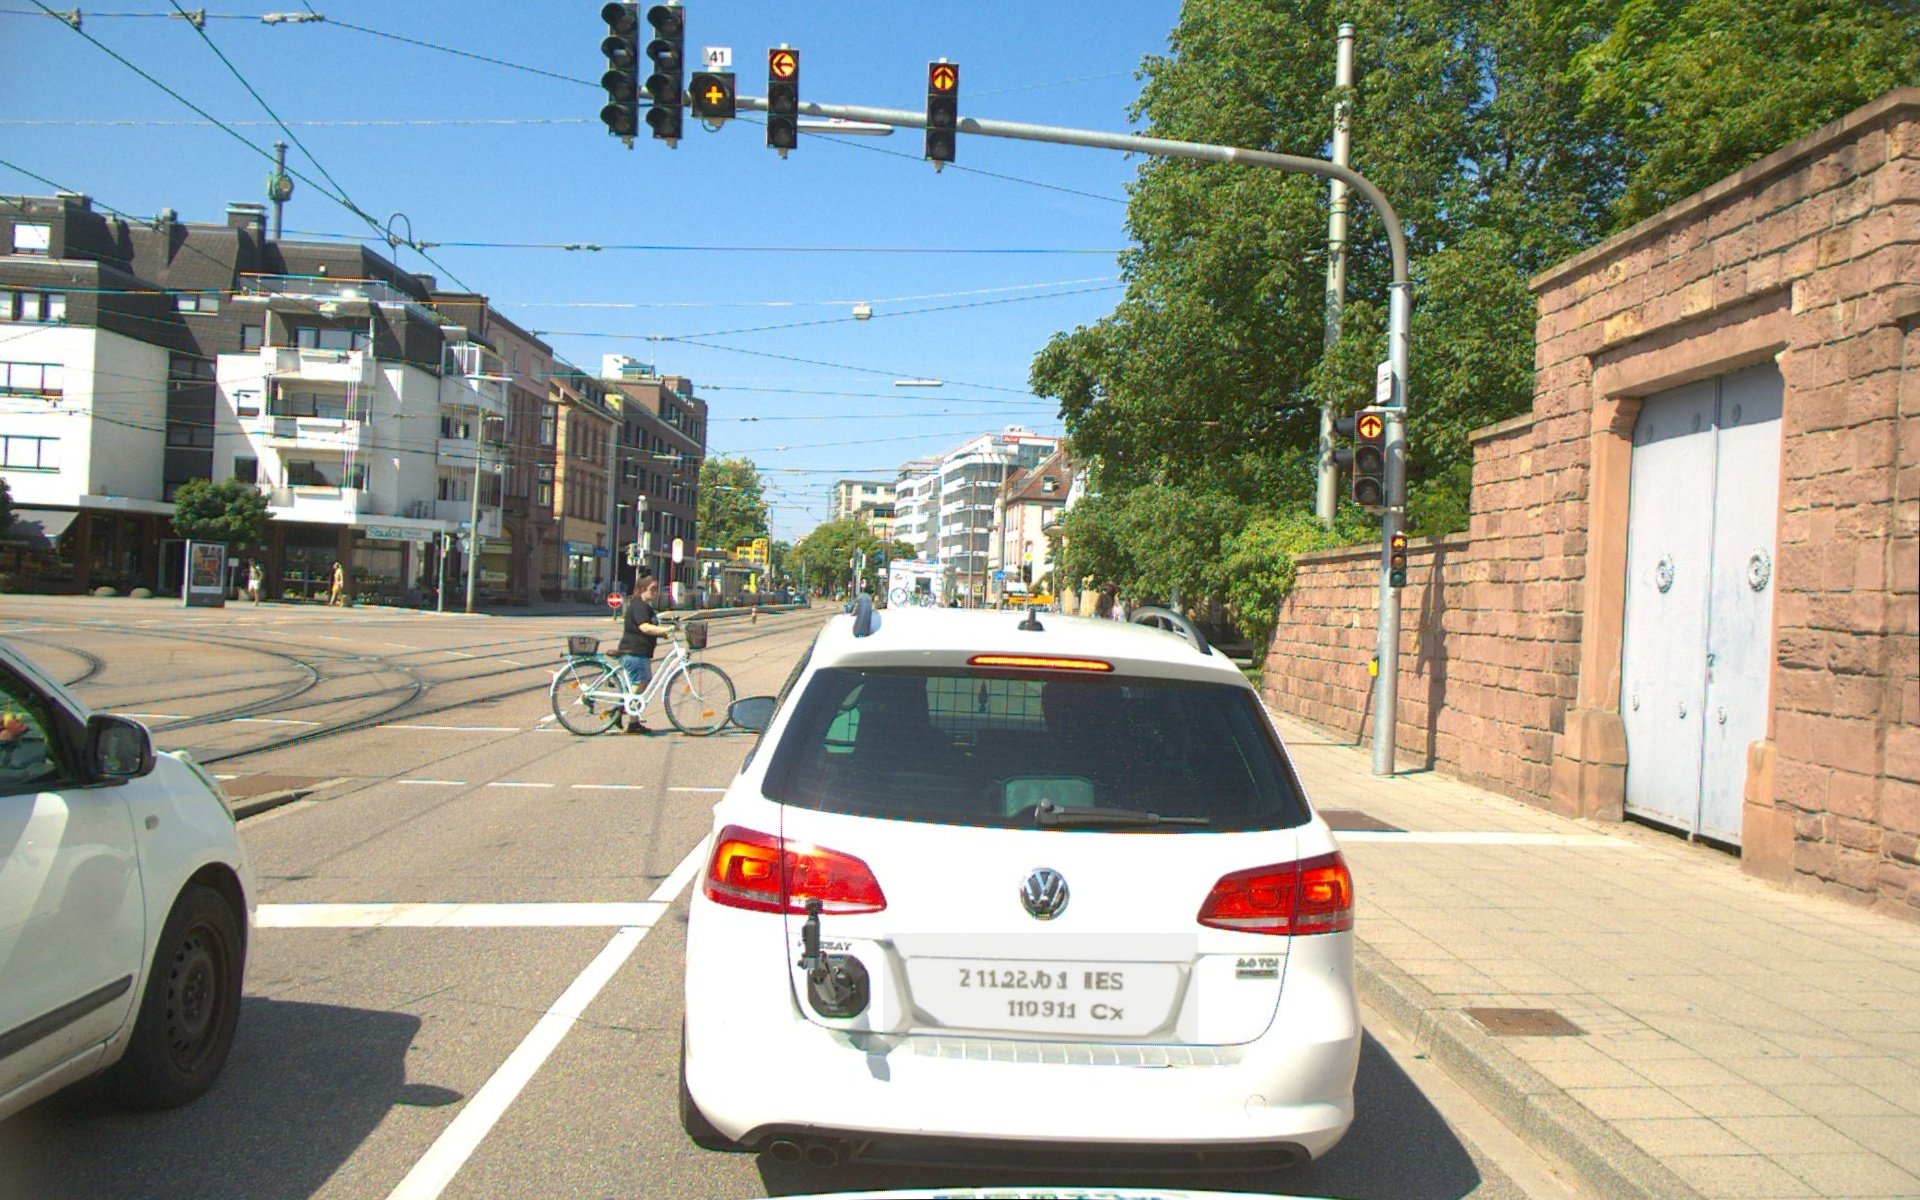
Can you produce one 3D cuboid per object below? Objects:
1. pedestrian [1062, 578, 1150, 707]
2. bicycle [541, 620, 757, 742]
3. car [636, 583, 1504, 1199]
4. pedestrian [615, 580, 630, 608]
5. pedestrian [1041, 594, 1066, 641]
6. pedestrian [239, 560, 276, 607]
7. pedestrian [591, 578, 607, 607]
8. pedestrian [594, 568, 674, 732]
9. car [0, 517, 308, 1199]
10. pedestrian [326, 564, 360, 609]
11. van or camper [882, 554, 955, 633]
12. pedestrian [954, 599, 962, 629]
[{"bbox_3d":[1.956,0.559,22.067,0.933,1.680,0.975,0,-1,20],"label":"pedestrian"},{"bbox_3d":[-3.032,0.786,16.084,1.986,1.109,0.707,2,0,-16],"label":"bicycle"},{"bbox_3d":[0.195,0.720,5.435,1.771,1.473,3.999,2,0,-1],"label":"car"},{"bbox_3d":[-21.843,-0.373,107.062,0.845,1.773,0.973,1,-1,-6],"label":"pedestrian"},{"bbox_3d":[3.580,0.663,63.207,0.843,1.773,0.976,0,-1,10],"label":"pedestrian"},{"bbox_3d":[-26.599,-0.612,62.600,0.846,1.773,0.973,0,-1,31],"label":"pedestrian"},{"bbox_3d":[-22.090,-0.461,101.137,0.845,1.773,0.973,1,-1,-6],"label":"pedestrian"},{"bbox_3d":[-3.263,0.489,16.537,0.733,1.599,0.673,1,1,-15],"label":"pedestrian"},{"bbox_3d":[-2.834,0.616,3.303,1.608,1.593,3.803,1,1,-1],"label":"car"},{"bbox_3d":[-24.919,-0.539,66.770,0.847,1.773,0.971,0,-1,35],"label":"pedestrian"},{"bbox_3d":[-1.677,-0.215,69.421,2.513,3.147,5.705,0,-1,4],"label":"van or camper"},{"bbox_3d":[-0.157,1.114,132.494,0.675,2.366,1.232,0,-1,0],"label":"pedestrian"}]
